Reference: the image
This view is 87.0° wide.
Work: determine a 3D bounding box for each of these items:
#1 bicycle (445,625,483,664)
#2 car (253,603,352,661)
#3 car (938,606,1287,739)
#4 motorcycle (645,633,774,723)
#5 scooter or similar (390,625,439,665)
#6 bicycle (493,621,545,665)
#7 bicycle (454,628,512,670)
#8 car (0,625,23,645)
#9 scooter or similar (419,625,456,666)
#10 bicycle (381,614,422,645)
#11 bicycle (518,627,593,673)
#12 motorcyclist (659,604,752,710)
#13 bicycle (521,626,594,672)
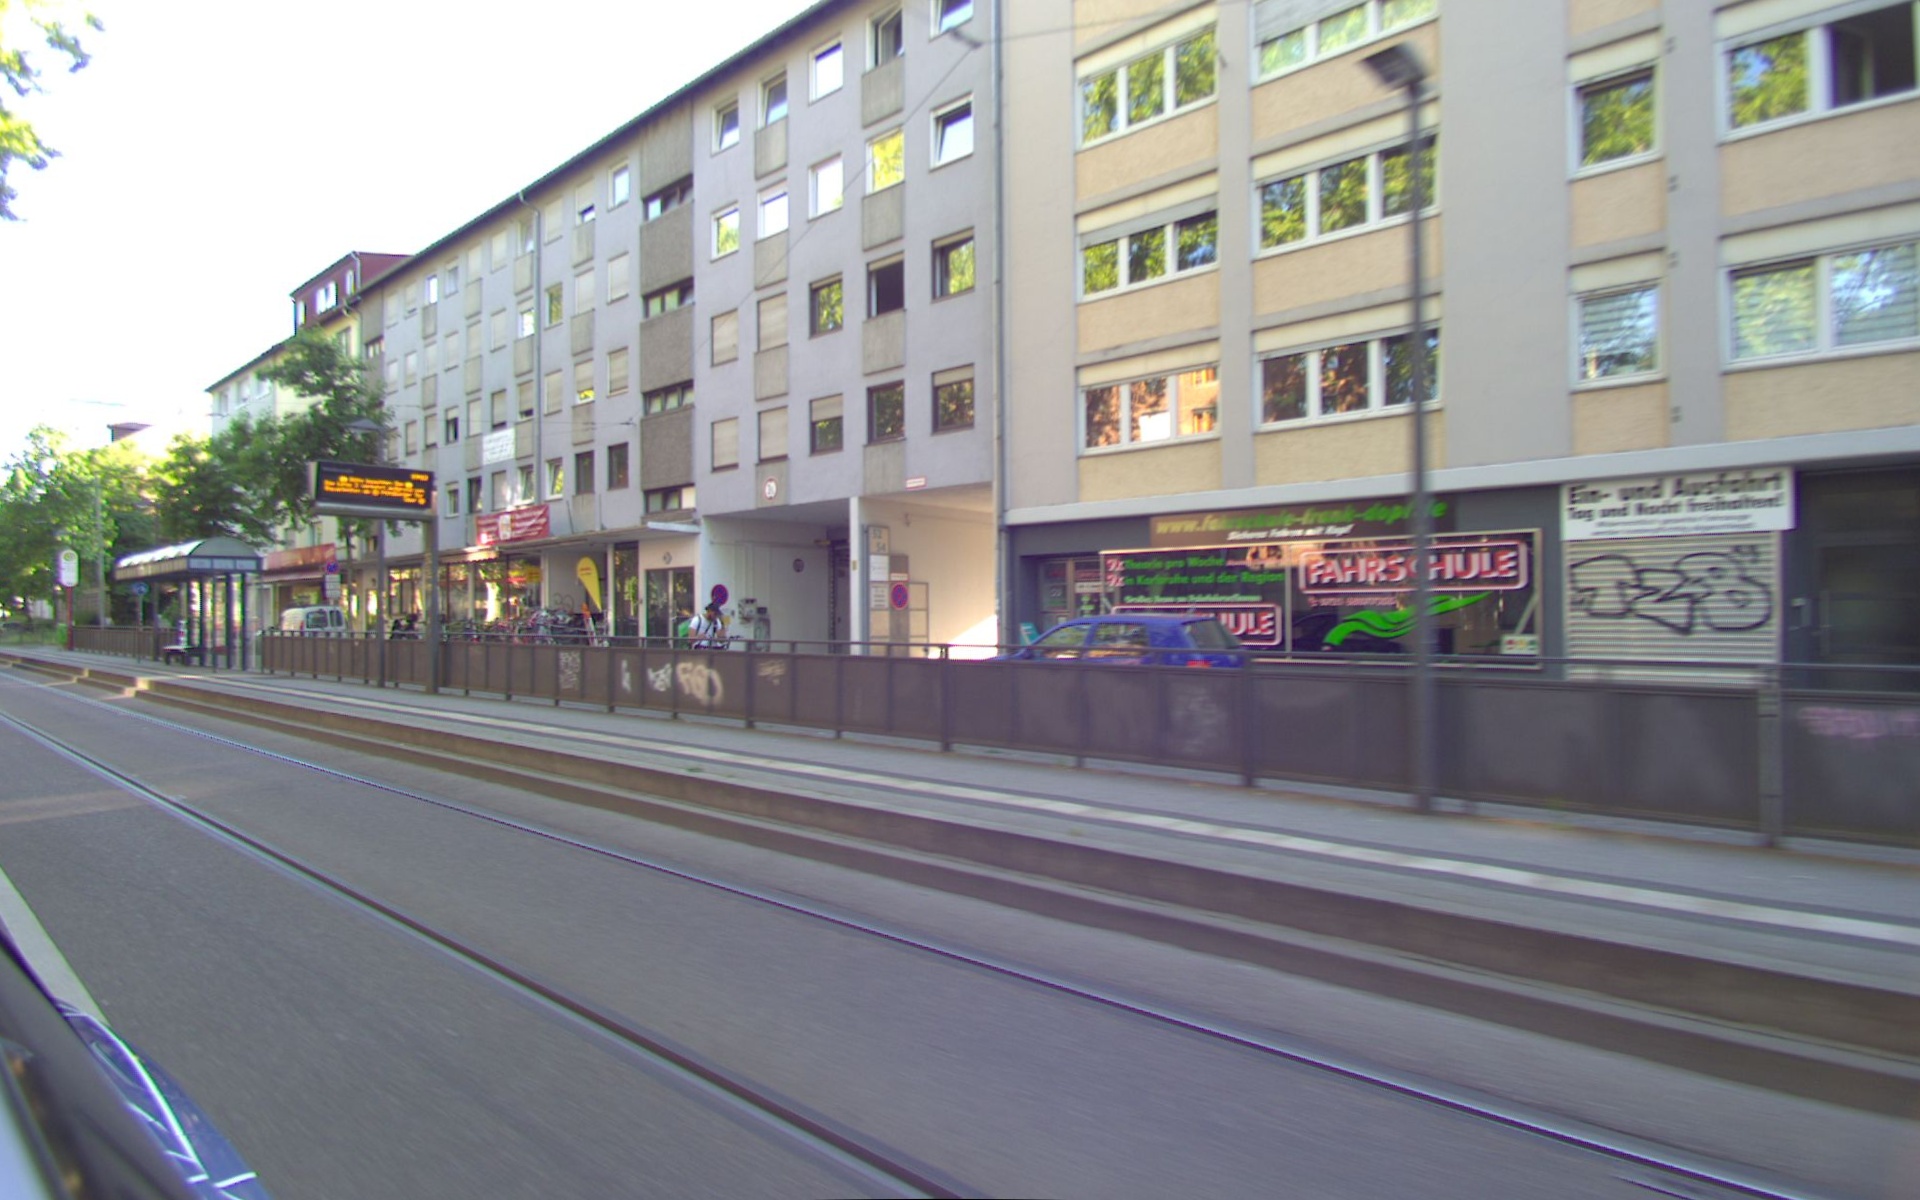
[{"bbox_3d":[-15.179,1.344,30.933,1.688,1.165,0.506,-2,-2,44],"label":"bicycle"},{"bbox_3d":[-23.142,1.112,35.580,4.046,1.949,1.785,-1,-2,40],"label":"car"},{"bbox_3d":[1.884,0.861,13.337,4.280,1.475,1.776,-1,-2,41],"label":"car"},{"bbox_3d":[-3.587,1.070,14.438,1.914,1.173,0.840,-1,-2,41],"label":"motorcycle"},{"bbox_3d":[-16.473,1.355,30.594,1.259,1.183,0.445,0,-2,5],"label":"scooter or similar"},{"bbox_3d":[-12.090,1.176,27.739,1.748,1.165,0.488,-1,-2,36],"label":"bicycle"},{"bbox_3d":[-13.629,1.379,28.901,2.033,1.165,0.565,-1,-2,36],"label":"bicycle"},{"bbox_3d":[-72.787,2.641,77.019,3.679,1.541,1.971,-2,-2,44],"label":"car"},{"bbox_3d":[-15.394,1.332,29.829,1.272,1.183,0.440,-1,-2,36],"label":"scooter or similar"},{"bbox_3d":[-21.643,1.154,39.182,2.033,1.165,0.565,-1,-2,36],"label":"bicycle"},{"bbox_3d":[-10.349,1.265,25.890,2.019,1.165,0.556,-1,-2,26],"label":"bicycle"},{"bbox_3d":[-3.637,0.794,14.470,1.015,1.451,0.864,-1,-2,40],"label":"motorcyclist"},{"bbox_3d":[-10.470,1.265,26.318,2.019,1.165,0.556,-1,-2,26],"label":"bicycle"}]
